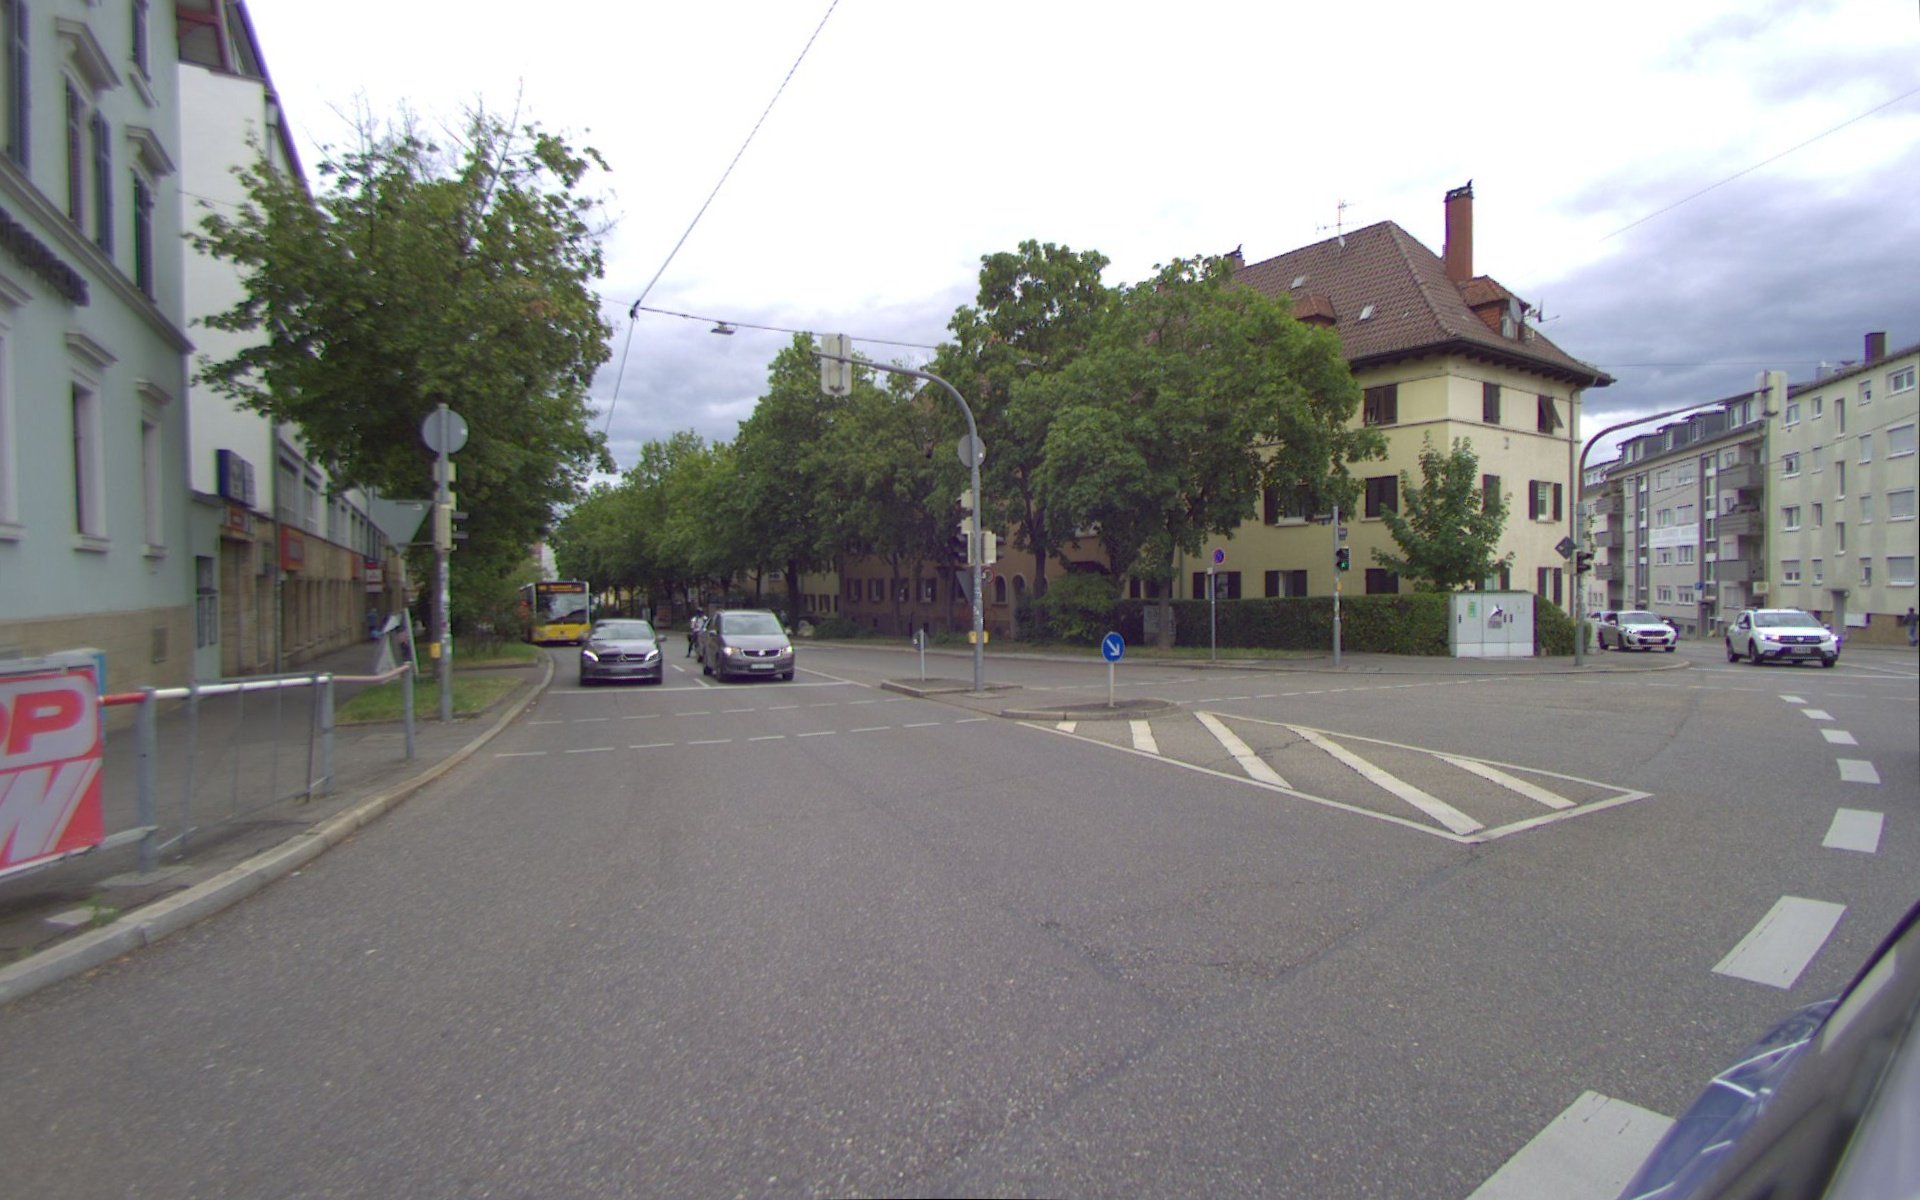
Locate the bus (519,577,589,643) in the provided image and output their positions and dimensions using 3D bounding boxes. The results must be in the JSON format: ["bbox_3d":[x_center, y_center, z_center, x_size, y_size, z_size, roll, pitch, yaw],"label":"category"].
[{"bbox_3d":[-19.396,0.424,48.109,2.468,2.943,6.540,-1,0,-27],"label":"bus"}]

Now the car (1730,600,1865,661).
[{"bbox_3d":[22.547,0.797,27.415,1.889,1.498,3.853,1,-1,25],"label":"car"}]

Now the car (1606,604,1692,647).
[{"bbox_3d":[27.517,1.002,40.553,1.930,1.570,4.007,1,-1,20],"label":"car"}]

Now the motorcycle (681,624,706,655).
[{"bbox_3d":[-9.228,1.352,34.985,0.625,0.958,2.027,-1,0,-20],"label":"motorcycle"}]

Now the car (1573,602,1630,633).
[{"bbox_3d":[35.157,0.958,55.540,1.932,1.570,4.004,1,-1,23],"label":"car"}]

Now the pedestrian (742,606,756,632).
[{"bbox_3d":[-14.137,1.263,67.817,0.703,1.689,0.524,-1,0,-36],"label":"pedestrian"}]

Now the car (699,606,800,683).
[{"bbox_3d":[-5.092,0.975,24.146,1.758,1.591,4.060,-1,0,-20],"label":"car"}]

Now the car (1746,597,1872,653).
[{"bbox_3d":[26.117,0.760,31.304,2.019,1.570,3.999,1,-1,25],"label":"car"}]

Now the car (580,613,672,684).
[{"bbox_3d":[-7.787,1.045,23.422,1.844,1.406,4.038,-1,0,-20],"label":"car"}]

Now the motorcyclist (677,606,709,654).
[{"bbox_3d":[-9.231,1.033,35.017,0.952,1.591,1.092,-1,0,-20],"label":"motorcyclist"}]
